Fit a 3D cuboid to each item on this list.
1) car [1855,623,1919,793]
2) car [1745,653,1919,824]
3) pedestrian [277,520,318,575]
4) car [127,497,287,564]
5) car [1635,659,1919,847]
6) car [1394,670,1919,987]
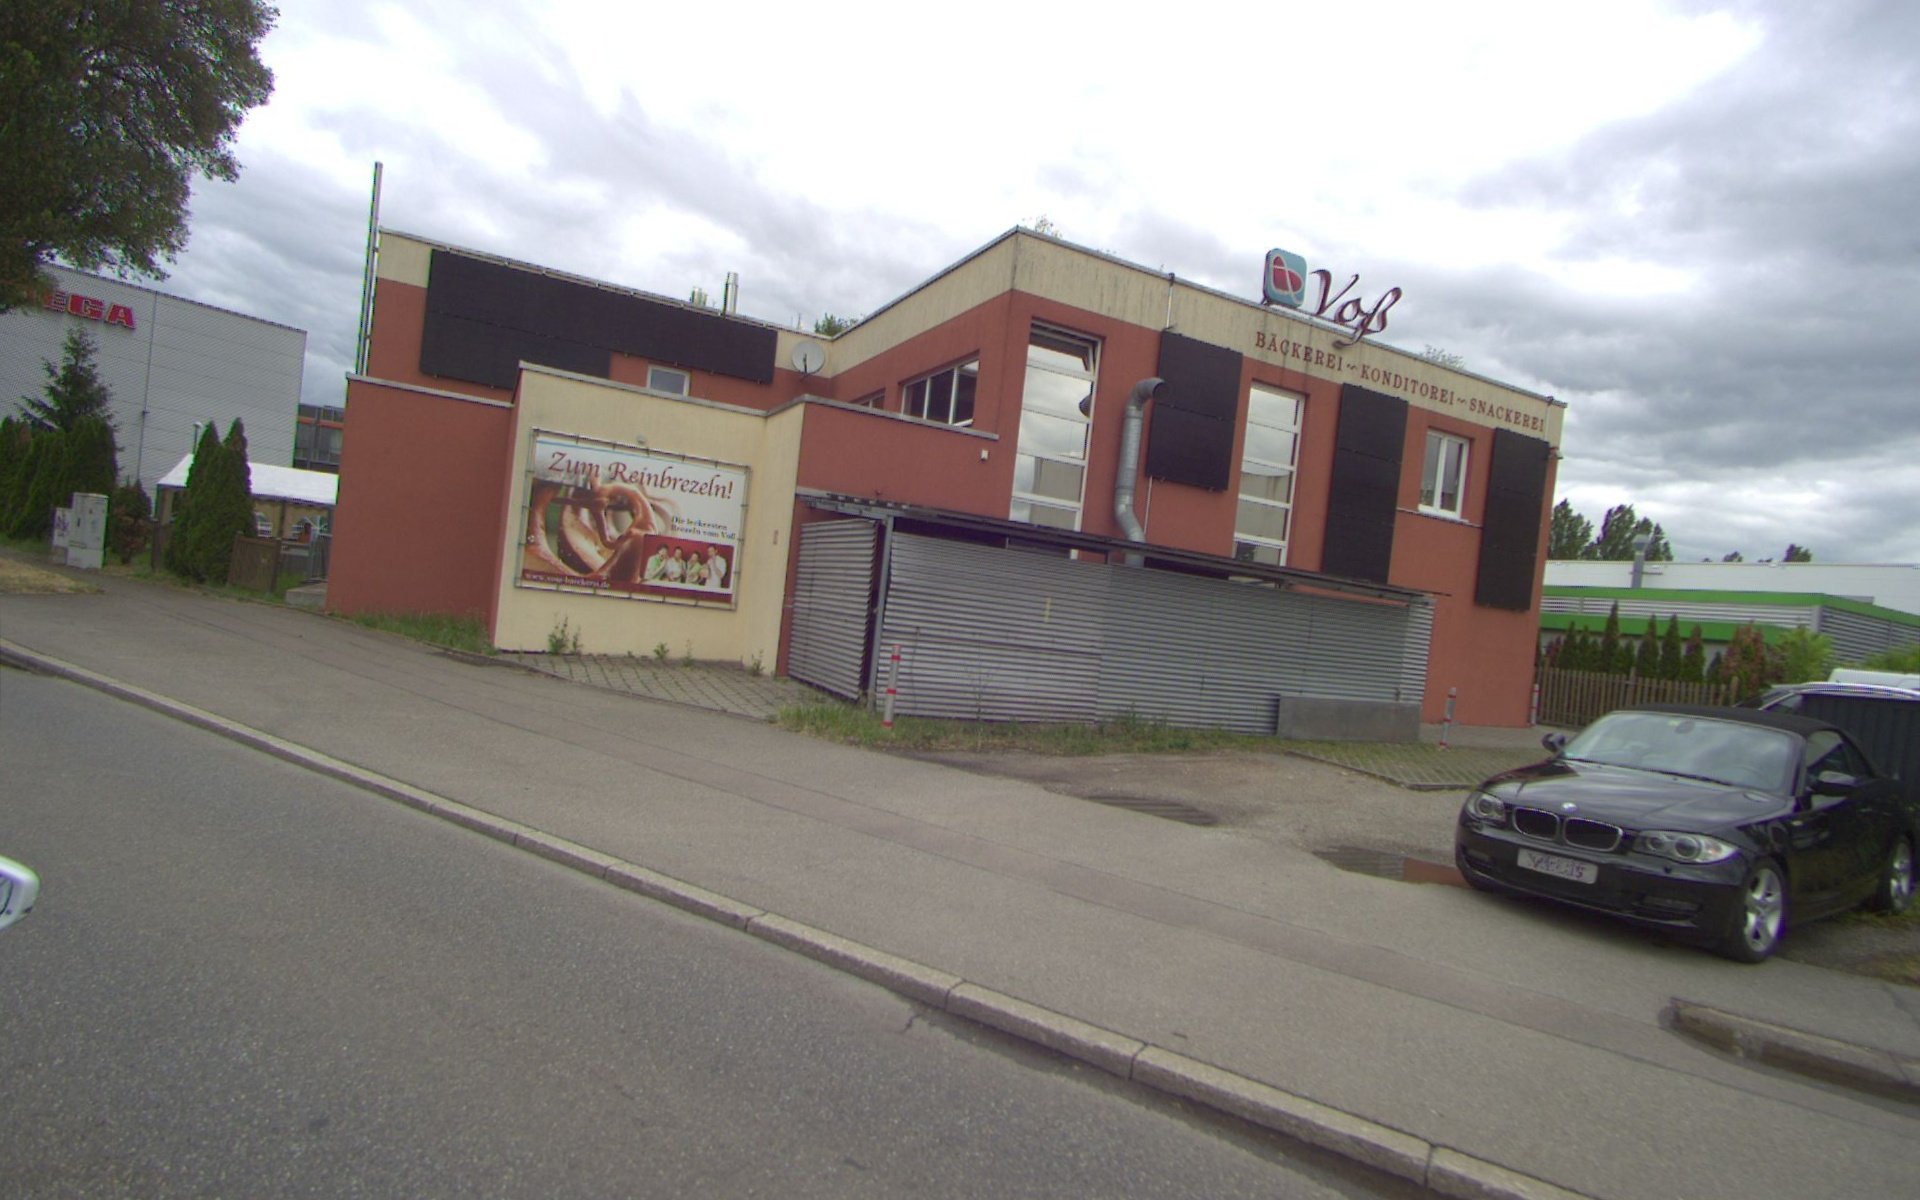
[{"bbox_3d":[16.839,1.903,14.450,2.070,2.622,5.388,6,0,-26],"label":"car"},{"bbox_3d":[12.440,1.836,11.890,1.839,1.855,4.509,6,0,-28],"label":"car"},{"bbox_3d":[-19.308,-1.514,29.331,0.695,1.508,0.767,6,0,-18],"label":"pedestrian"},{"bbox_3d":[-26.776,-2.429,35.970,4.334,1.727,1.982,7,0,-34],"label":"car"},{"bbox_3d":[10.073,1.658,10.578,2.128,1.568,4.503,5,0,-18],"label":"car"},{"bbox_3d":[5.183,1.475,7.125,4.192,1.460,1.748,8,0,-33],"label":"car"}]
